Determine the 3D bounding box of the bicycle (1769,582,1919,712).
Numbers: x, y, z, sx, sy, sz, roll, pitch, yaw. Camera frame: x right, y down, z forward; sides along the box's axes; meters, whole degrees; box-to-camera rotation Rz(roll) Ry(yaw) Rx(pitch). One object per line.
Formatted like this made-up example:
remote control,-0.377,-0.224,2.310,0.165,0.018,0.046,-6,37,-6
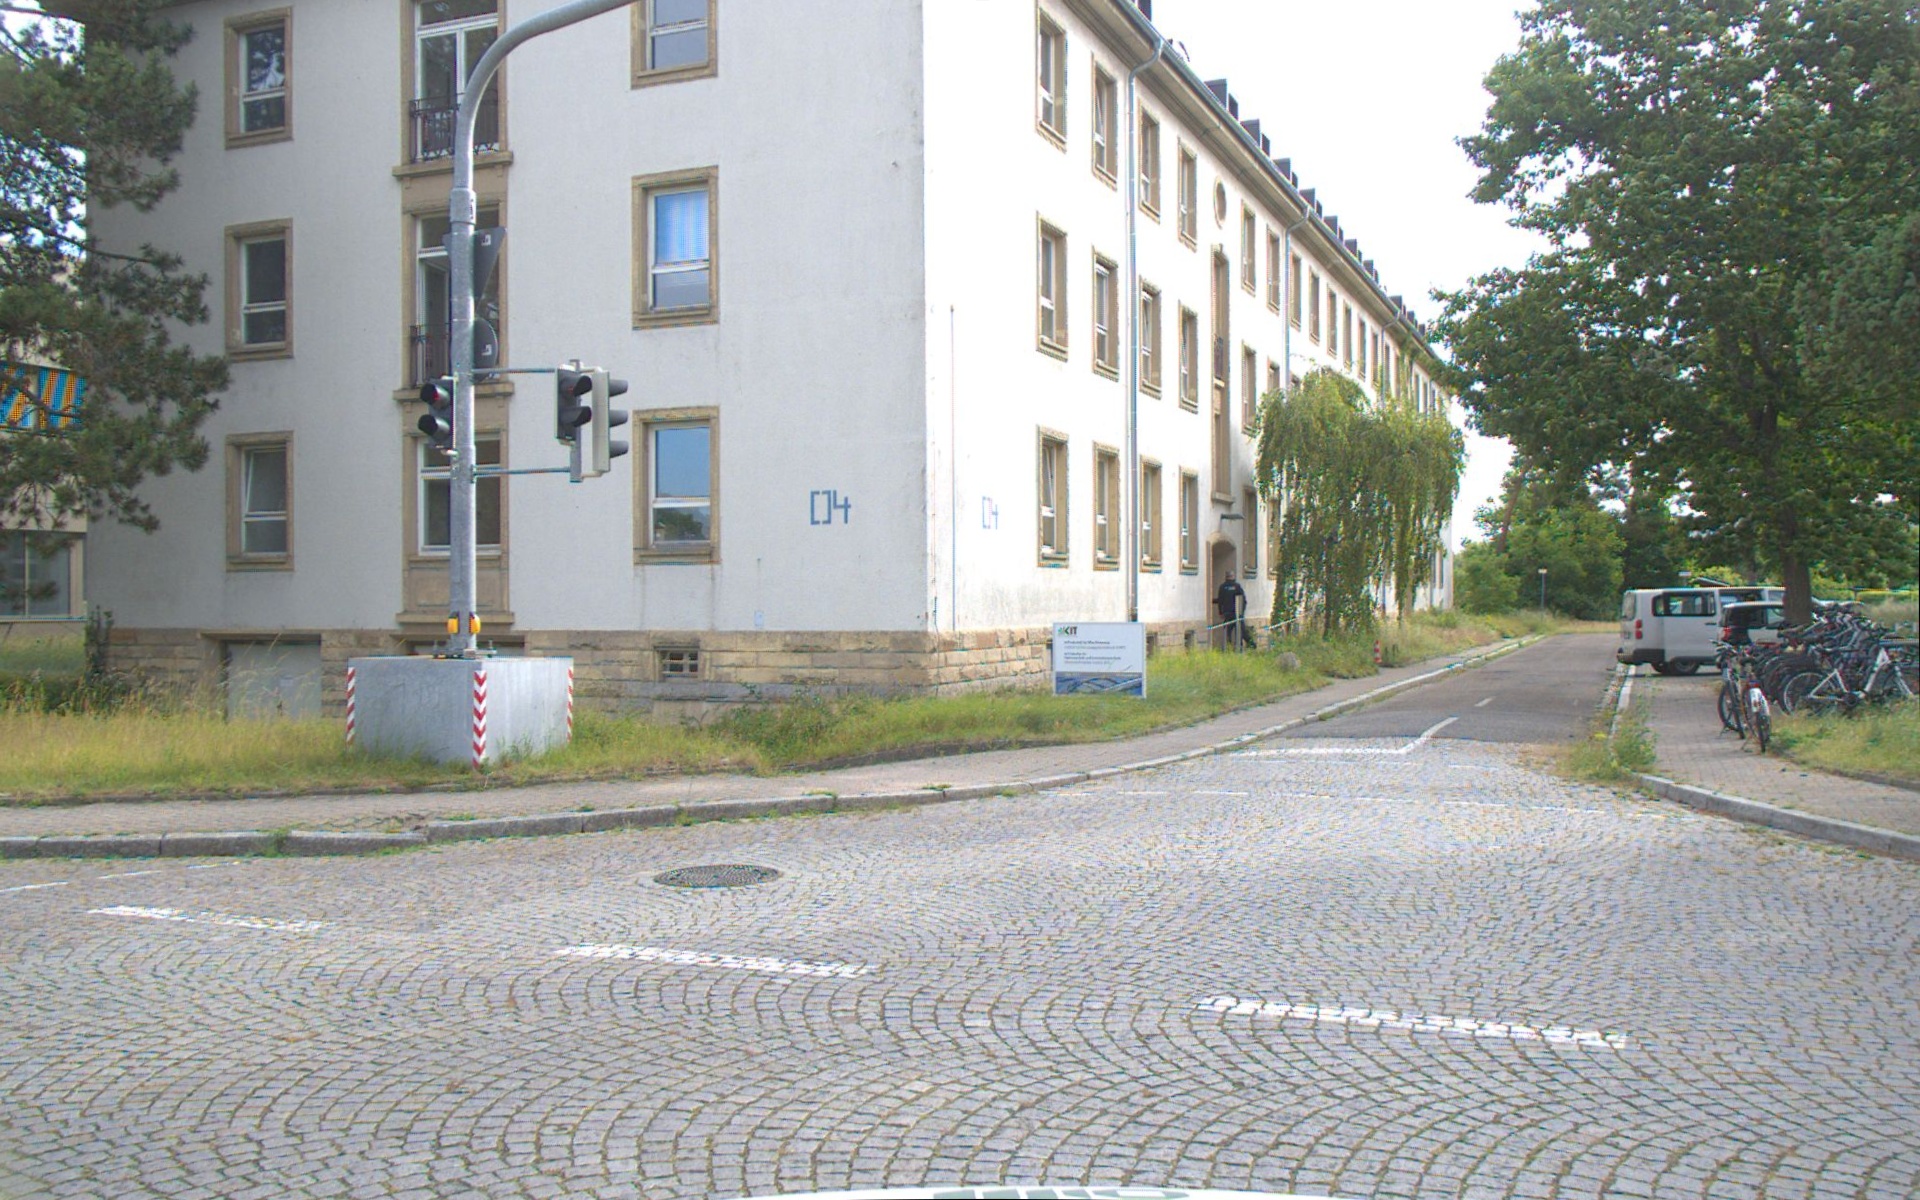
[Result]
bicycle,11.793,0.579,20.913,2.745,1.611,0.950,0,0,23

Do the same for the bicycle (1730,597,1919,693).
bicycle,13.023,0.663,24.913,2.515,1.396,0.950,0,0,22

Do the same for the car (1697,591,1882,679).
car,16.668,0.675,33.402,3.159,1.649,1.937,1,0,22

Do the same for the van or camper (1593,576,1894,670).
van or camper,17.187,0.508,36.608,5.619,1.991,2.240,0,0,11

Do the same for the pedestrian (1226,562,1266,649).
pedestrian,6.681,0.122,38.590,0.846,1.966,0.838,1,0,11

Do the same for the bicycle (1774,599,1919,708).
bicycle,12.263,0.683,21.723,2.745,1.396,0.950,0,0,23

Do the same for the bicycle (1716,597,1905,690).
bicycle,13.193,0.665,25.751,2.515,1.396,0.950,0,0,22

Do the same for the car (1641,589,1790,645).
car,22.523,0.512,49.452,3.904,1.628,1.704,-1,0,21

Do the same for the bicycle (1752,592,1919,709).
bicycle,11.152,0.599,20.242,2.566,1.391,0.874,0,0,23

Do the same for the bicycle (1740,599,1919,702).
bicycle,12.484,0.685,23.182,2.745,1.396,0.950,0,0,23

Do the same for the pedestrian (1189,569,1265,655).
pedestrian,6.099,0.268,37.862,1.514,1.902,1.198,1,0,-2

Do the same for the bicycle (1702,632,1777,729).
bicycle,9.015,0.900,19.096,0.713,1.014,1.976,0,0,27

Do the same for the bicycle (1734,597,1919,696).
bicycle,12.717,0.659,24.130,2.515,1.396,0.950,0,0,22

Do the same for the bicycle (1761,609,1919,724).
bicycle,10.749,0.772,19.749,2.070,1.329,0.874,0,0,22

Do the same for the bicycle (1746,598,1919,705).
bicycle,12.171,0.681,22.344,2.745,1.396,0.950,0,0,23

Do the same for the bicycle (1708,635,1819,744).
bicycle,8.289,0.889,17.131,0.882,1.014,1.978,0,0,22
